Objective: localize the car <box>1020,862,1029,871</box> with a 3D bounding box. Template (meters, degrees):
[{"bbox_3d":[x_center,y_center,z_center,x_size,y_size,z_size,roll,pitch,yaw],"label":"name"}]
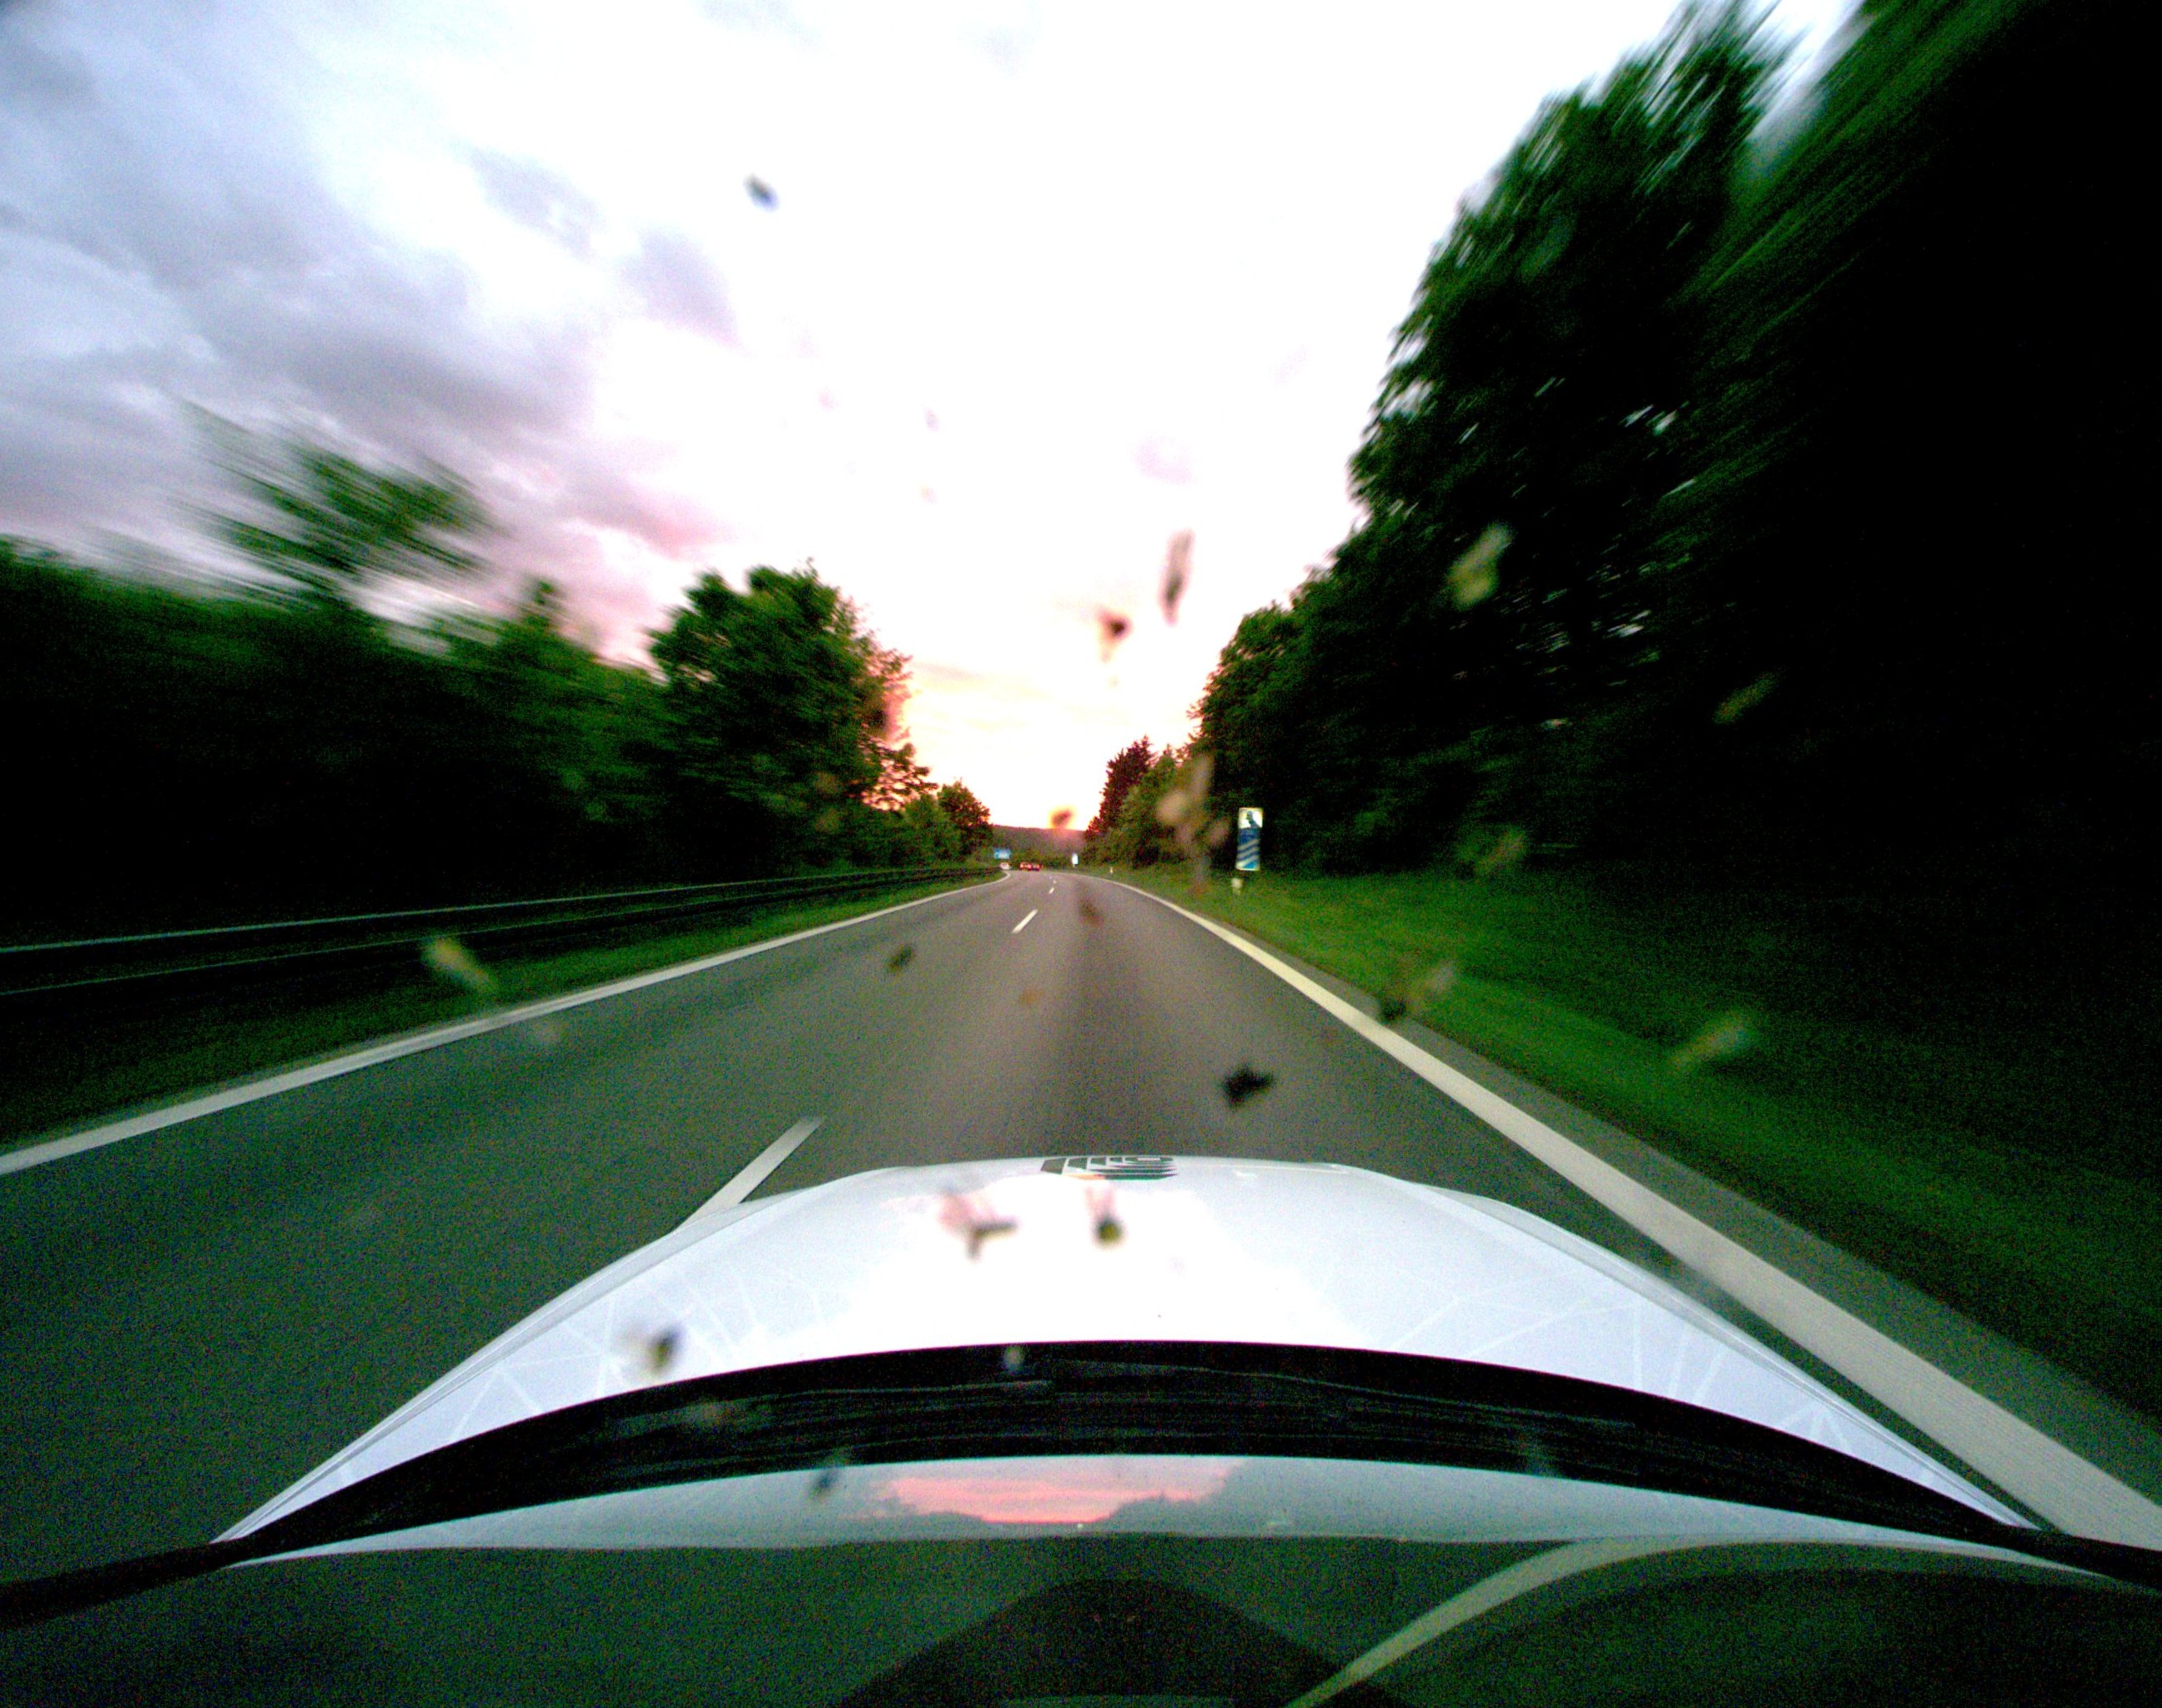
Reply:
[{"bbox_3d":[-11.529,2.571,165.921,1.716,1.635,3.992,-1,-1,-5],"label":"car"}]

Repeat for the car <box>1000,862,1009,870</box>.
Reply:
[{"bbox_3d":[-15.287,2.460,163.459,1.715,1.501,3.992,1,-2,-5],"label":"car"}]
